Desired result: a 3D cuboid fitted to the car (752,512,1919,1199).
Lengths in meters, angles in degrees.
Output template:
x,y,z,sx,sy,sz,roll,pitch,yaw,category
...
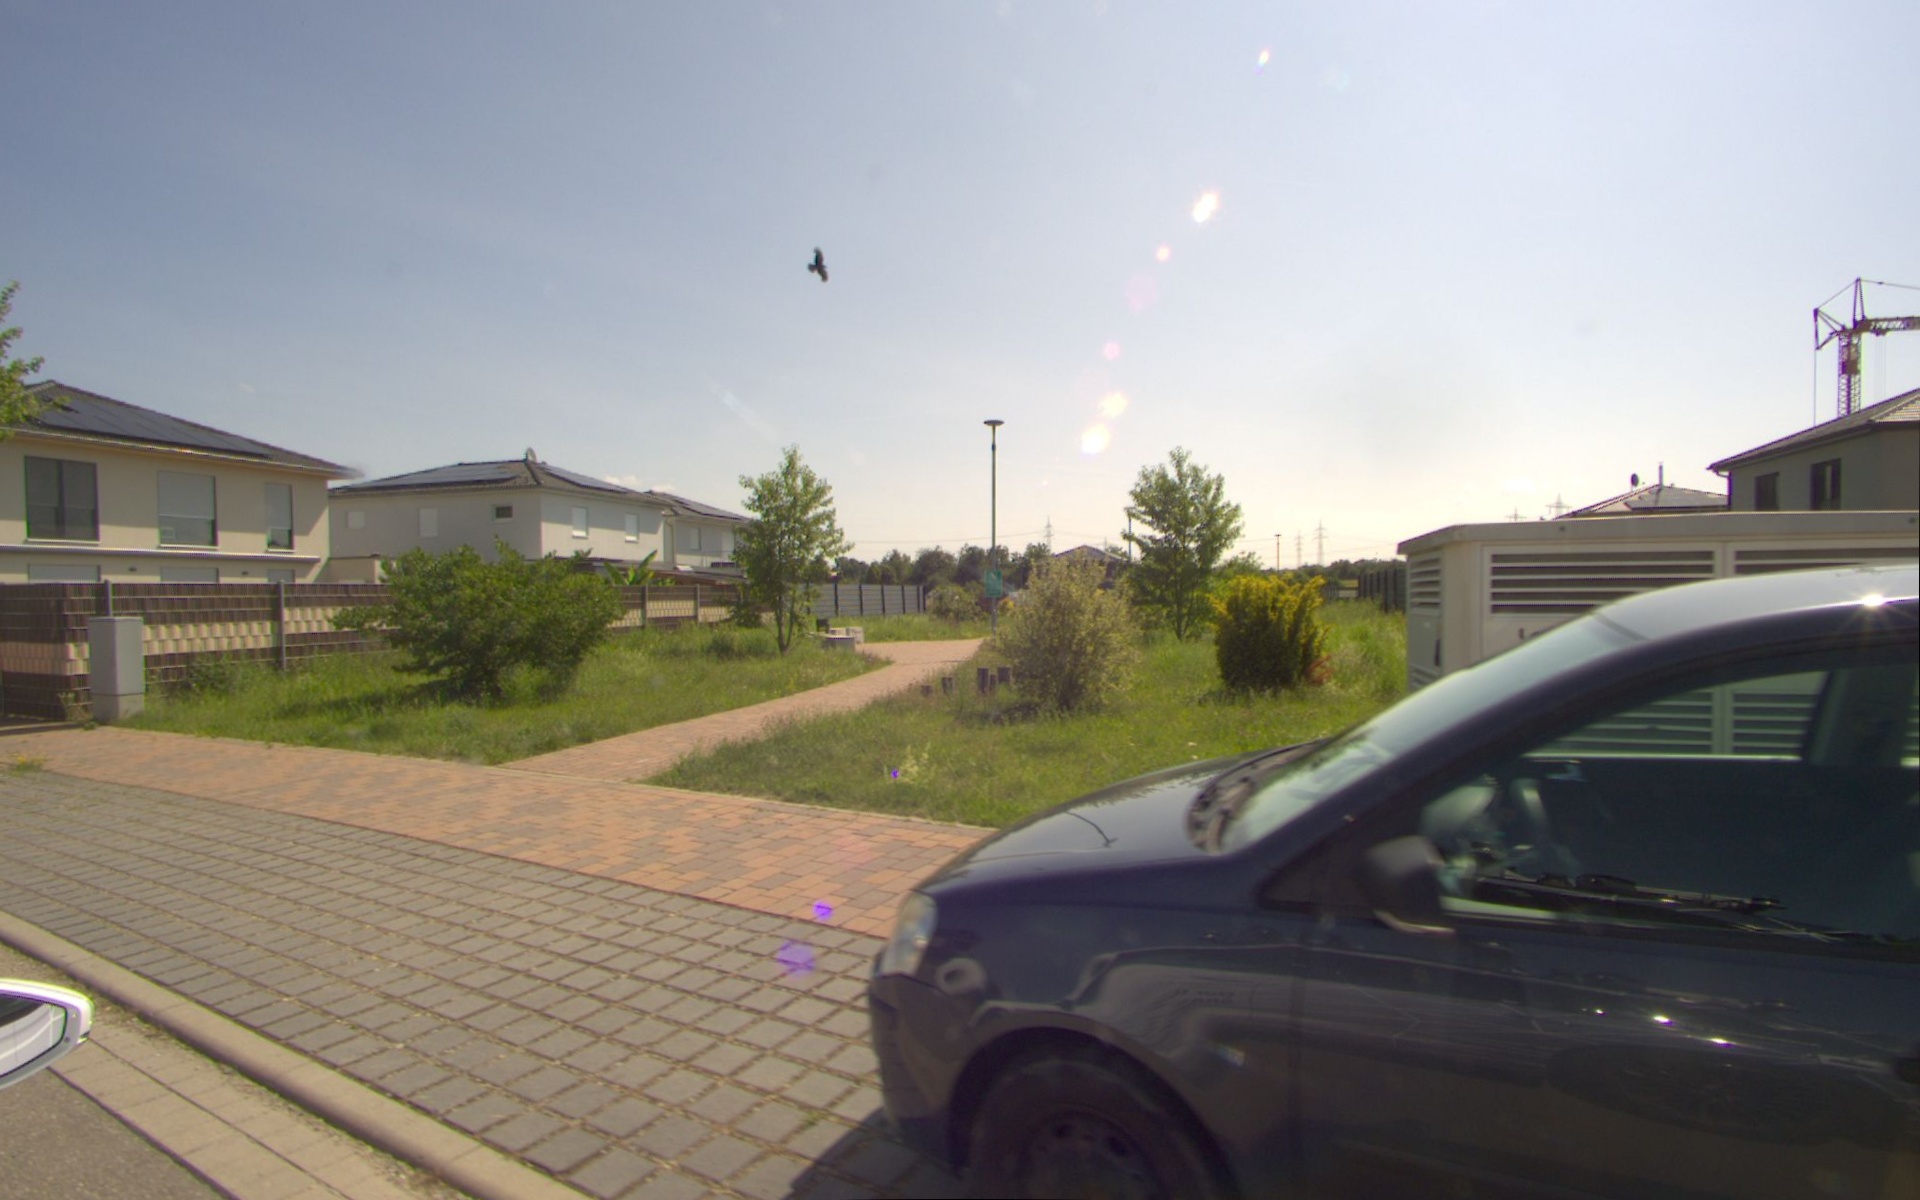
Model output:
x,y,z,sx,sy,sz,roll,pitch,yaw,category
1.465,0.649,2.048,3.621,1.494,1.595,0,-1,32,car
